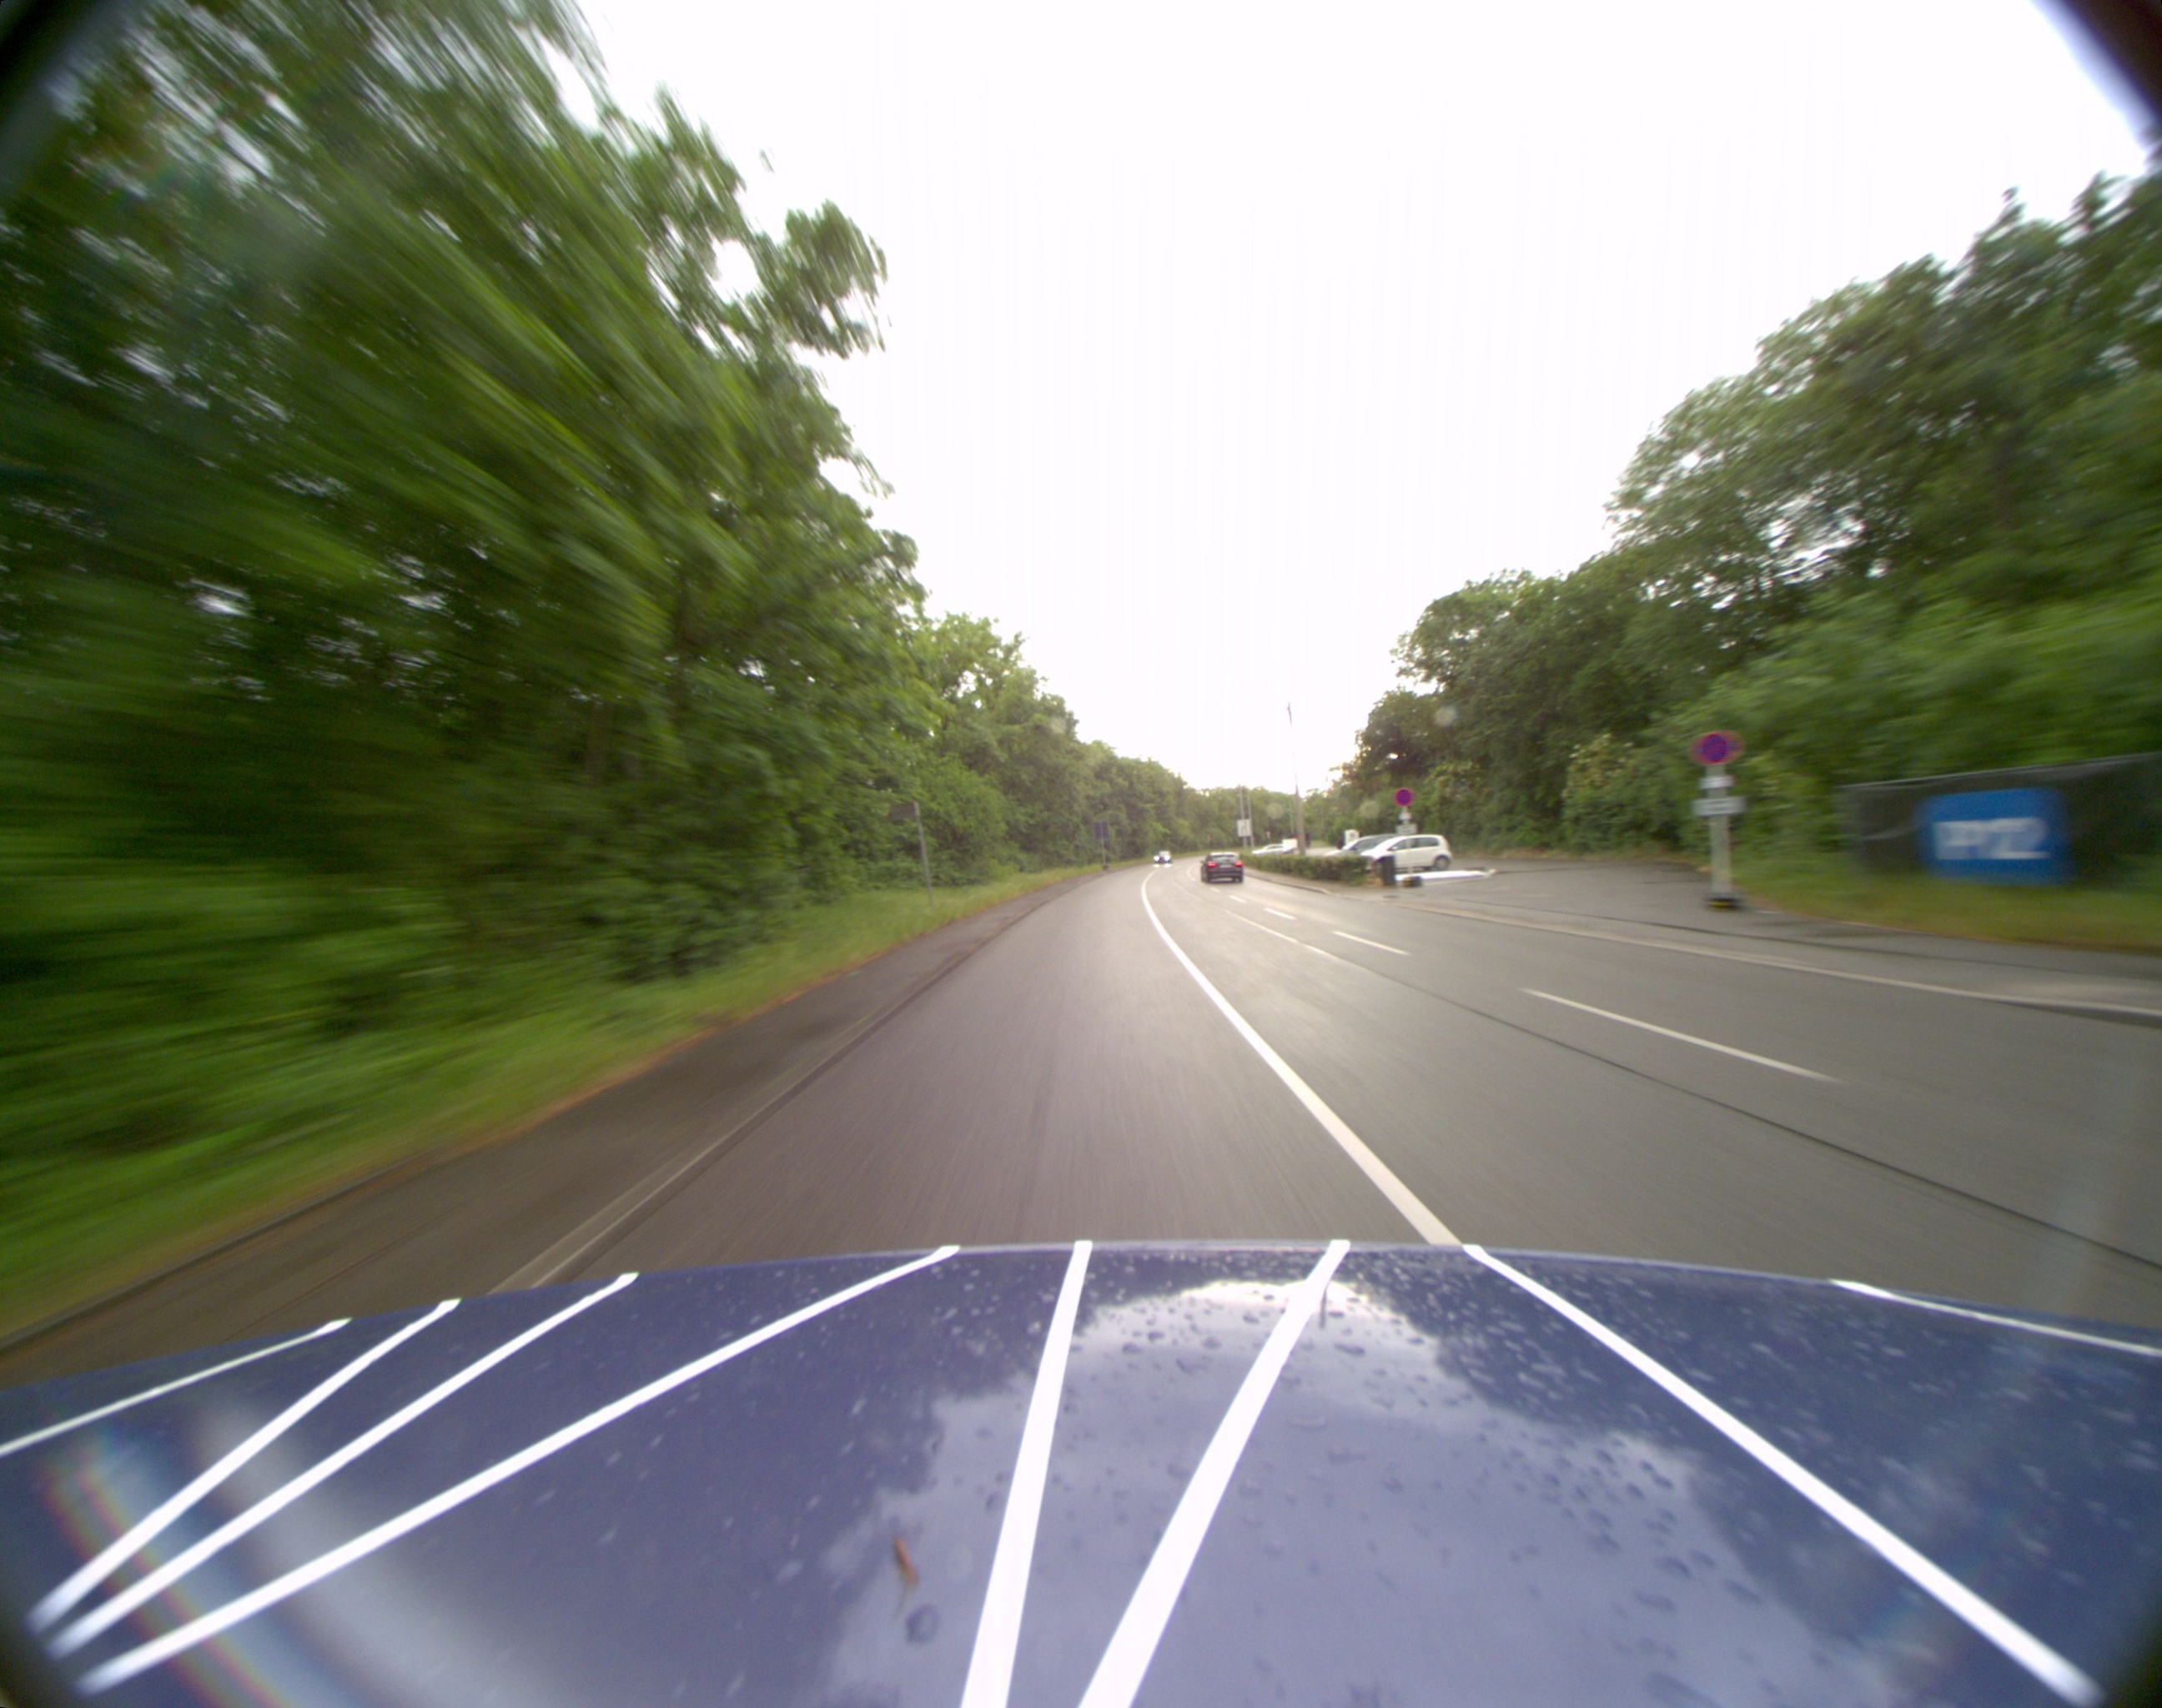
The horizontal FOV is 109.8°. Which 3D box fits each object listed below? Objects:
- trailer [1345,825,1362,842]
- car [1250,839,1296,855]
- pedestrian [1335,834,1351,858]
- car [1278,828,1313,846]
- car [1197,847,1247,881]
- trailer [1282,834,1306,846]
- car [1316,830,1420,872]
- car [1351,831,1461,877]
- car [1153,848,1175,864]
[{"bbox_3d":[47.510,-3.568,132.743,2.479,2.857,7.986,-2,1,18],"label":"trailer"},{"bbox_3d":[20.791,-0.774,82.429,4.584,1.497,2.001,-3,1,7],"label":"car"},{"bbox_3d":[20.196,-0.639,58.590,0.818,1.787,1.136,-3,1,7],"label":"pedestrian"},{"bbox_3d":[41.418,-3.286,146.749,6.279,3.096,2.754,-3,2,19],"label":"car"},{"bbox_3d":[6.844,0.457,37.320,1.939,1.490,4.319,-3,0,4],"label":"car"},{"bbox_3d":[39.679,-2.527,141.609,3.991,2.041,1.875,-2,1,22],"label":"trailer"},{"bbox_3d":[13.737,-0.143,36.578,4.299,1.698,2.001,-3,1,10],"label":"car"},{"bbox_3d":[13.162,-0.010,30.950,3.653,1.582,1.852,-3,1,3],"label":"car"},{"bbox_3d":[9.644,0.240,87.915,1.996,1.674,4.003,-2,1,13],"label":"car"}]
